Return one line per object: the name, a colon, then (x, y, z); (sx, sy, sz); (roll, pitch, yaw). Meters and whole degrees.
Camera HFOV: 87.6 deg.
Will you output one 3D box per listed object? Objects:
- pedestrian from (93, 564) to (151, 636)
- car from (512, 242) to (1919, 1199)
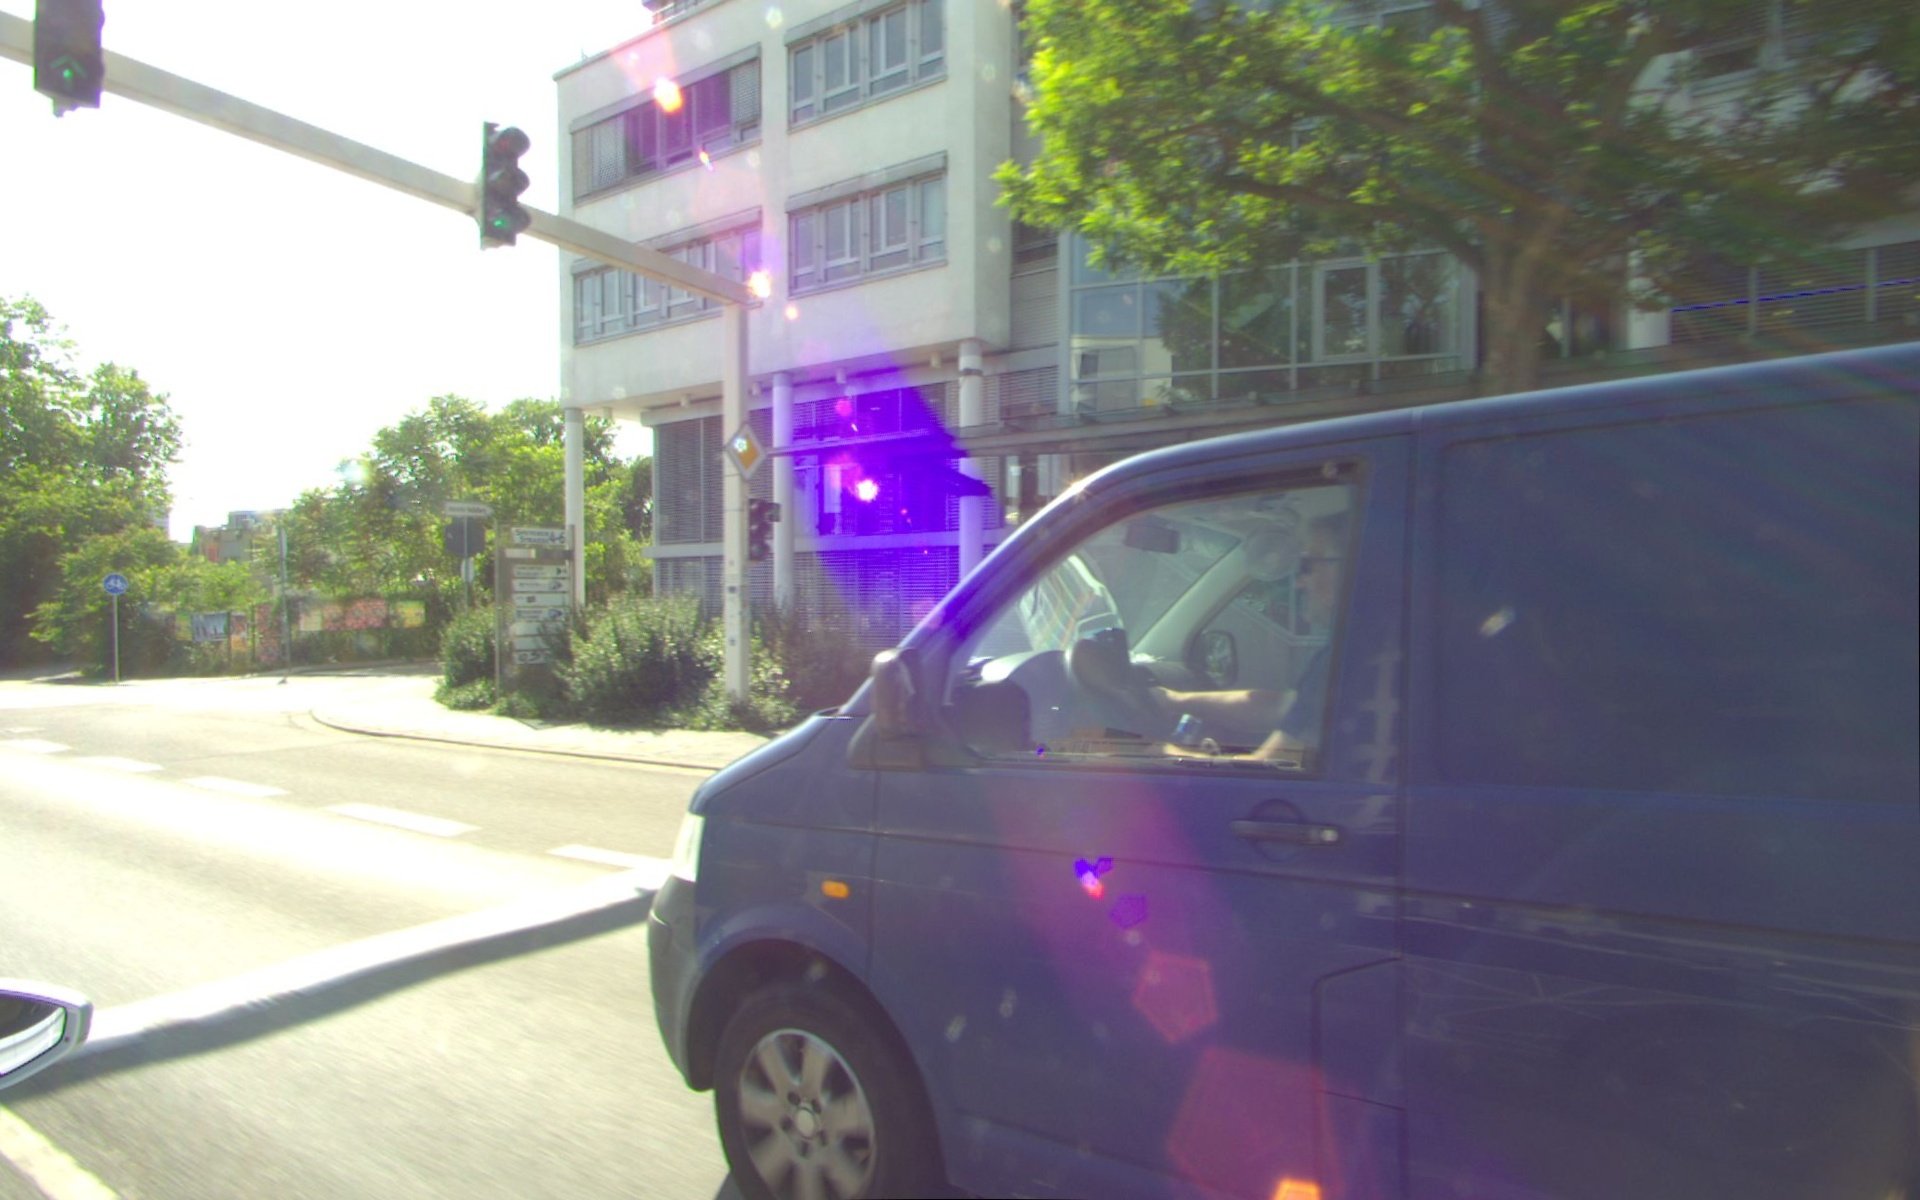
pedestrian: (-24.458, 0.016, 29.221); (1.024, 2.040, 1.024); (-1, 0, 33)
car: (1.246, 0.557, 2.440); (4.824, 1.973, 1.989); (-2, -1, 34)
